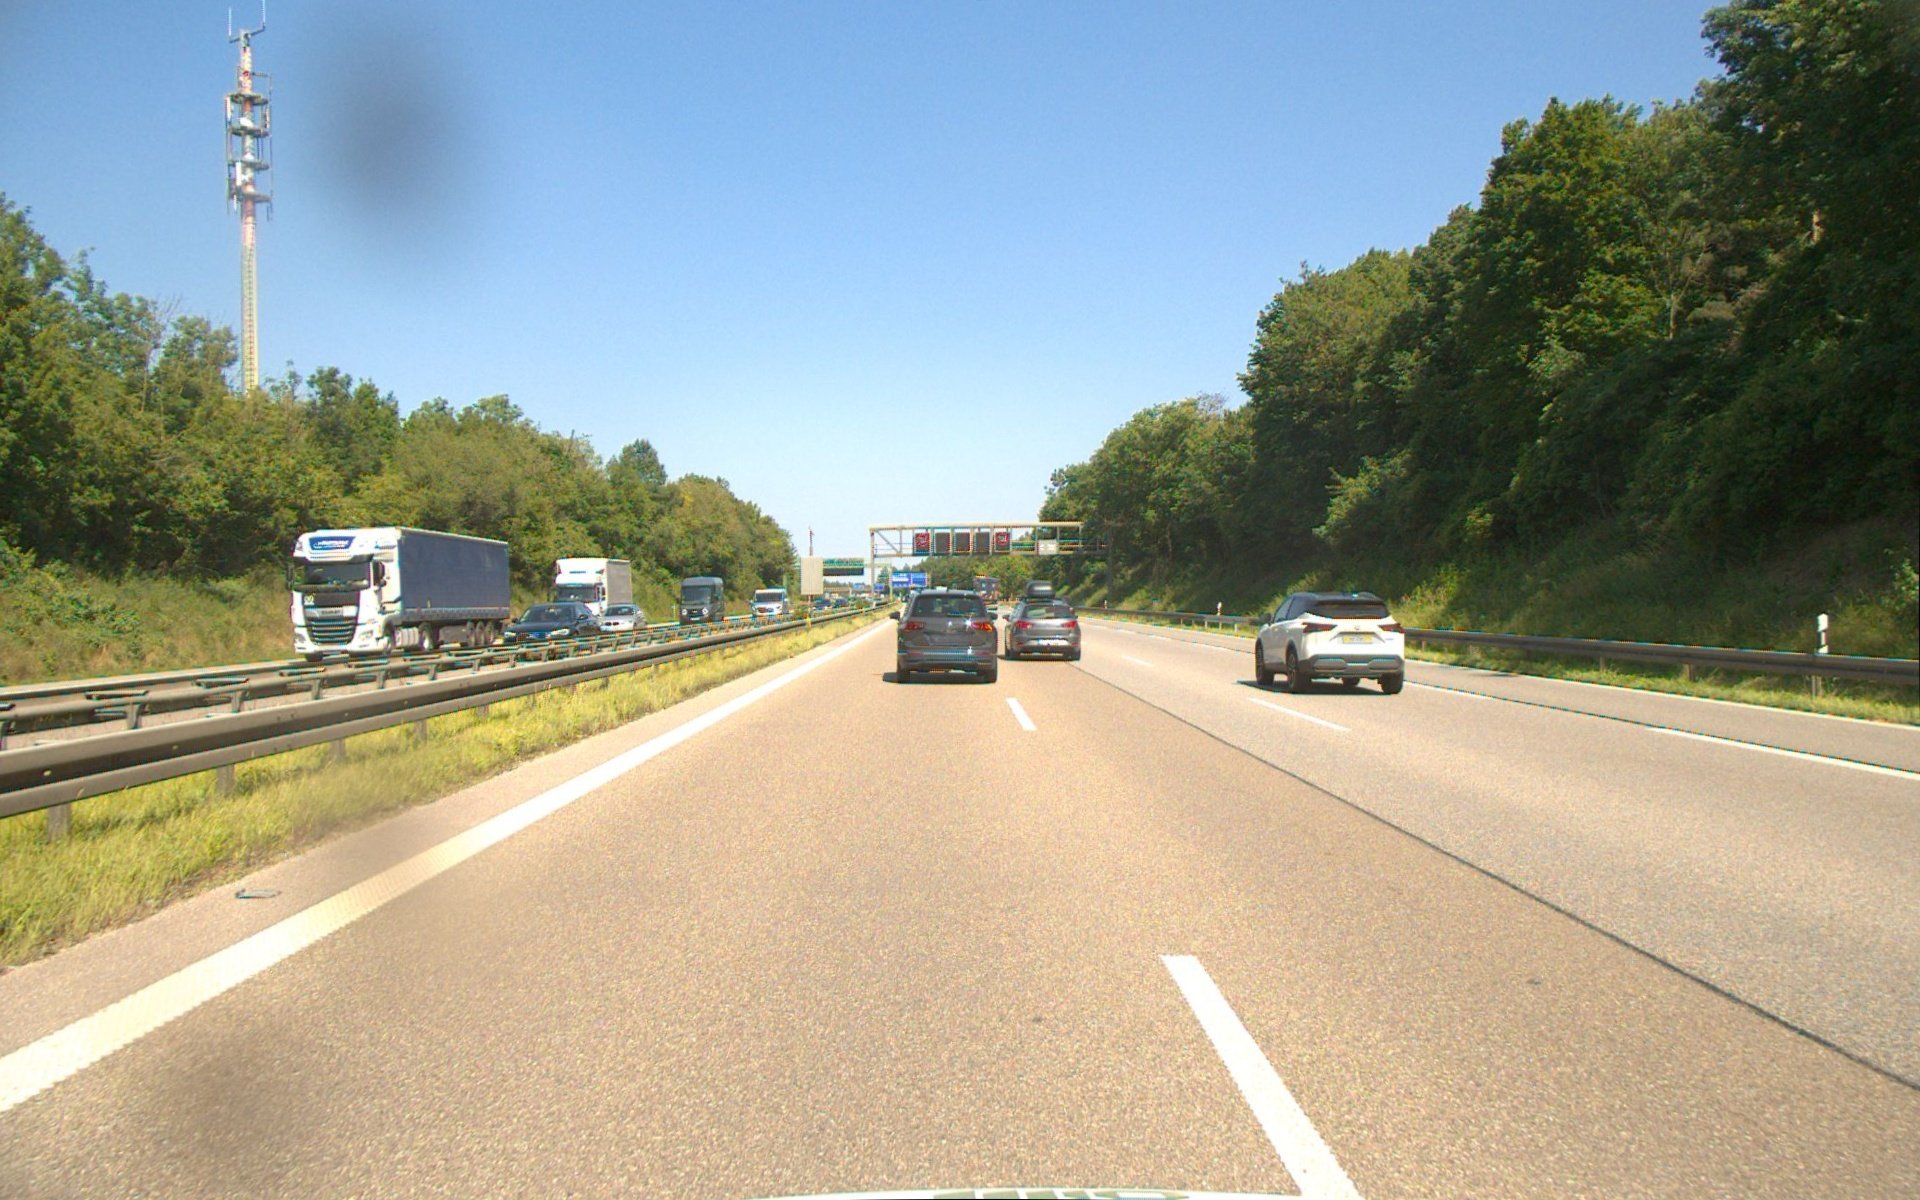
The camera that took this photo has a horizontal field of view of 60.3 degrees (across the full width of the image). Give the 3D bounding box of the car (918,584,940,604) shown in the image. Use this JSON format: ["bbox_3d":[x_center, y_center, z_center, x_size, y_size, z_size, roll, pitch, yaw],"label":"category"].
[{"bbox_3d":[-2.524,-0.487,135.653,1.728,1.595,4.258,1,0,0],"label":"car"}]

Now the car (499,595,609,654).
[{"bbox_3d":[-10.689,0.597,43.843,1.770,1.430,4.818,-1,0,-1],"label":"car"}]

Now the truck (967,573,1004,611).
[{"bbox_3d":[3.049,-0.968,203.102,3.704,4.499,14.044,0,0,-2],"label":"truck"}]

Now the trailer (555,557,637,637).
[{"bbox_3d":[-19.064,-0.169,87.069,2.657,3.875,7.690,-2,0,-1],"label":"trailer"}]

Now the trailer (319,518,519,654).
[{"bbox_3d":[-18.790,-0.481,58.751,2.562,4.129,14.165,-3,0,-1],"label":"trailer"}]

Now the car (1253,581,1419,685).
[{"bbox_3d":[6.240,0.500,27.872,1.806,1.595,4.035,1,0,-1],"label":"car"}]

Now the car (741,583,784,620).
[{"bbox_3d":[-11.643,0.075,97.811,1.889,2.015,5.233,-3,0,-1],"label":"car"}]

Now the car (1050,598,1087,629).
[{"bbox_3d":[5.797,0.697,88.696,1.728,1.595,4.258,1,0,0],"label":"car"}]

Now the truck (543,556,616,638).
[{"bbox_3d":[-18.945,-0.165,82.491,2.648,3.875,3.999,-2,0,-1],"label":"truck"}]

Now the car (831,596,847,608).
[{"bbox_3d":[-14.565,0.242,198.767,1.679,1.422,4.148,-1,0,-1],"label":"car"}]

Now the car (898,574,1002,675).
[{"bbox_3d":[-0.152,0.405,30.436,1.762,1.698,4.258,1,0,0],"label":"car"}]

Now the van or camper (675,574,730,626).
[{"bbox_3d":[-15.188,-0.005,97.957,2.153,2.860,6.796,-3,0,0],"label":"van or camper"}]

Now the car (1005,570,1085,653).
[{"bbox_3d":[2.052,0.251,41.203,1.631,1.909,4.826,-1,0,-1],"label":"car"}]

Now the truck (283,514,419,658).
[{"bbox_3d":[-18.621,-0.420,50.818,2.562,4.129,3.999,-3,0,-1],"label":"truck"}]

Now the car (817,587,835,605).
[{"bbox_3d":[-11.916,-0.334,147.009,1.404,1.555,3.456,-1,0,-1],"label":"car"}]

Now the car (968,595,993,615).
[{"bbox_3d":[1.502,0.351,121.629,1.728,1.406,4.258,1,0,0],"label":"car"}]

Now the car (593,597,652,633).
[{"bbox_3d":[-14.505,0.634,71.214,1.679,1.443,4.503,-1,0,-1],"label":"car"}]
